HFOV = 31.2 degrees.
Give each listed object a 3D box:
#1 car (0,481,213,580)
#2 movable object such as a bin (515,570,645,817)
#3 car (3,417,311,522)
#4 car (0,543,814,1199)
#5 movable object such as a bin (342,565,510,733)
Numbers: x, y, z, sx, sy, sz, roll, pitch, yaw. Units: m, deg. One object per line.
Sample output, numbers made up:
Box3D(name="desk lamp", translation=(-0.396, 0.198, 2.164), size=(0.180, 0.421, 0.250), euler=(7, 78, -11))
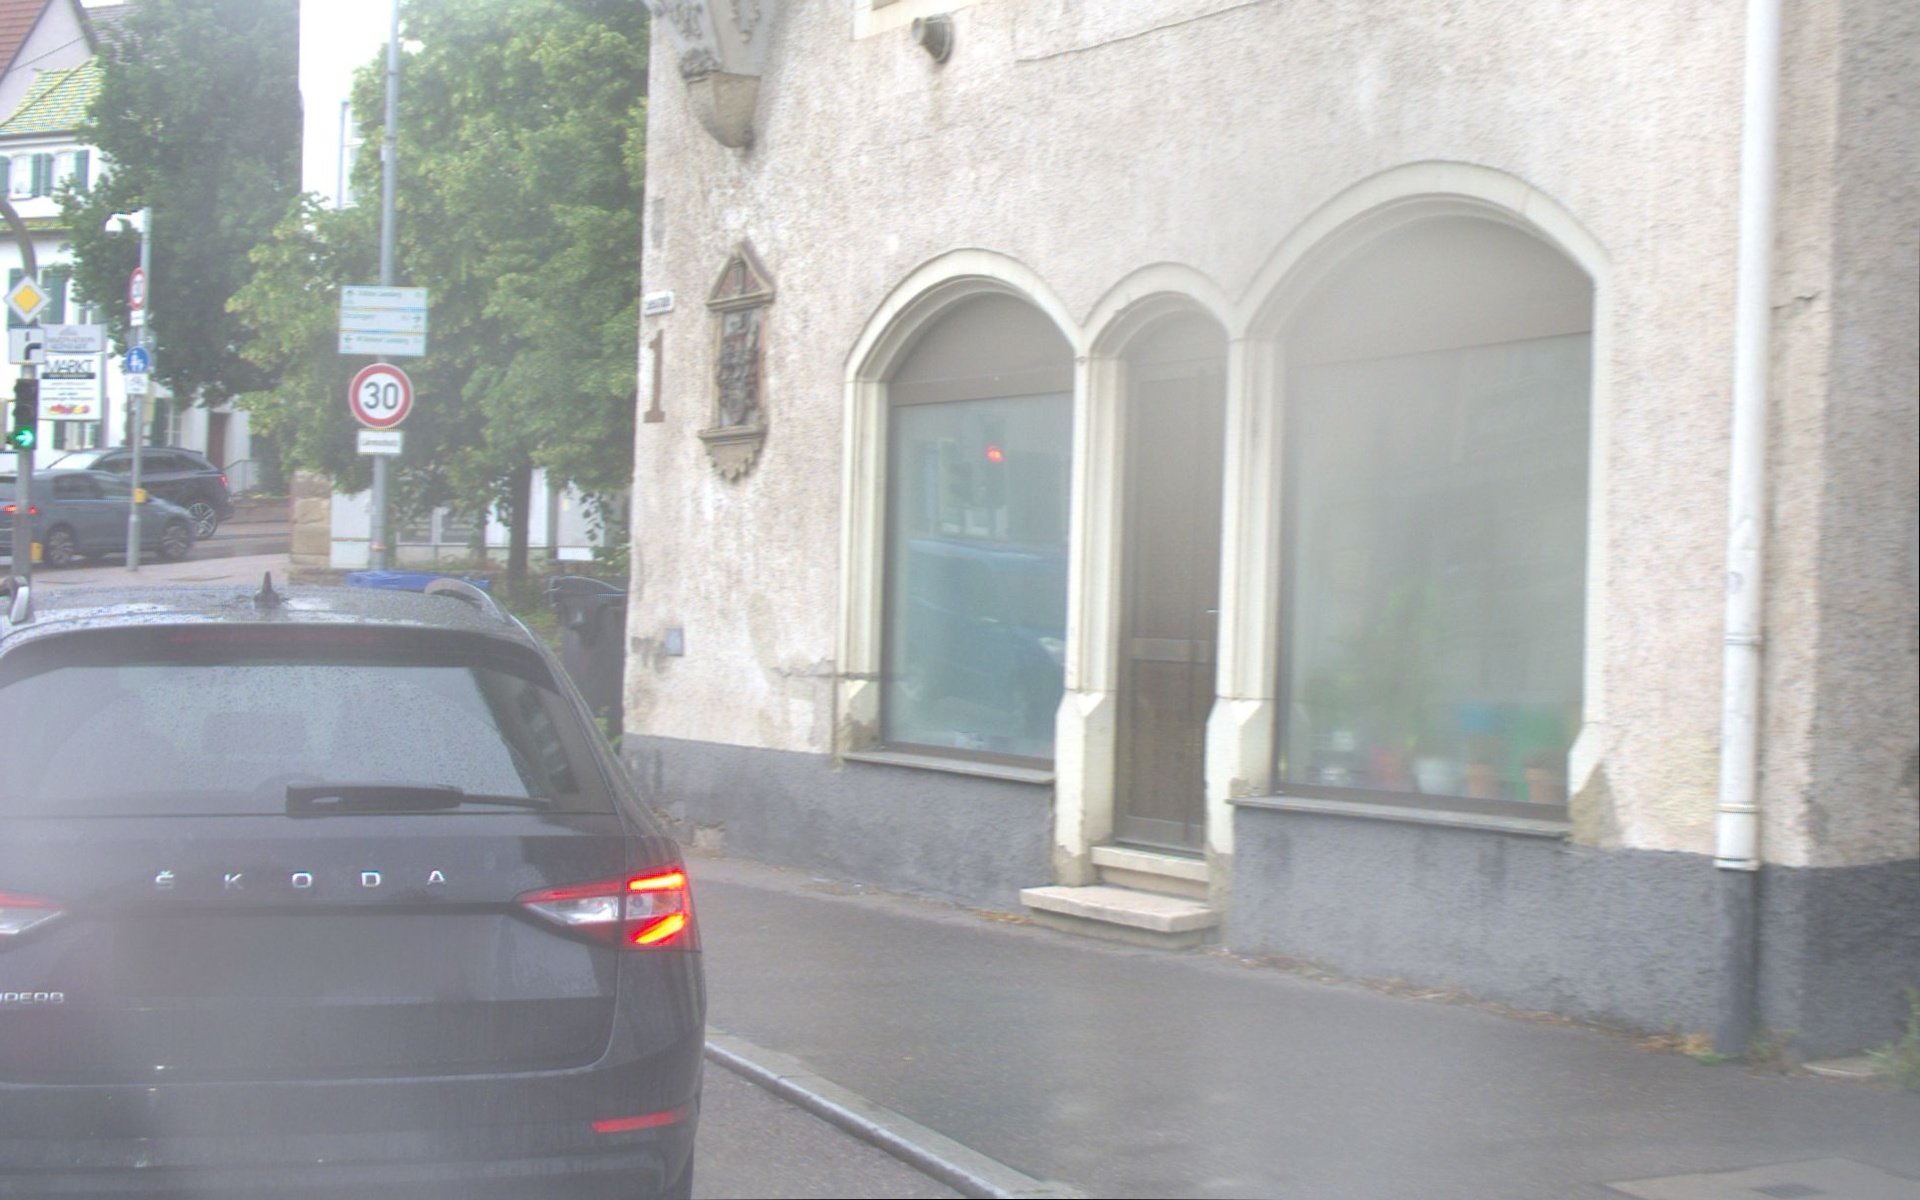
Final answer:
Box3D(name="car", translation=(-13.355, -1.057, 51.244), size=(1.998, 1.297, 3.992), euler=(4, 1, 34))
Box3D(name="movable object such as a bin", translation=(-2.294, 0.554, 20.743), size=(0.644, 1.437, 0.412), euler=(4, 3, 43))
Box3D(name="car", translation=(-13.662, -2.215, 58.591), size=(4.734, 1.582, 1.830), euler=(1, 3, -37))
Box3D(name="car", translation=(-1.815, 0.675, 8.173), size=(1.886, 1.443, 4.358), euler=(2, -2, -17))
Box3D(name="movable object such as a bin", translation=(-4.376, 0.390, 28.129), size=(1.154, 1.308, 1.187), euler=(2, 0, -17))
